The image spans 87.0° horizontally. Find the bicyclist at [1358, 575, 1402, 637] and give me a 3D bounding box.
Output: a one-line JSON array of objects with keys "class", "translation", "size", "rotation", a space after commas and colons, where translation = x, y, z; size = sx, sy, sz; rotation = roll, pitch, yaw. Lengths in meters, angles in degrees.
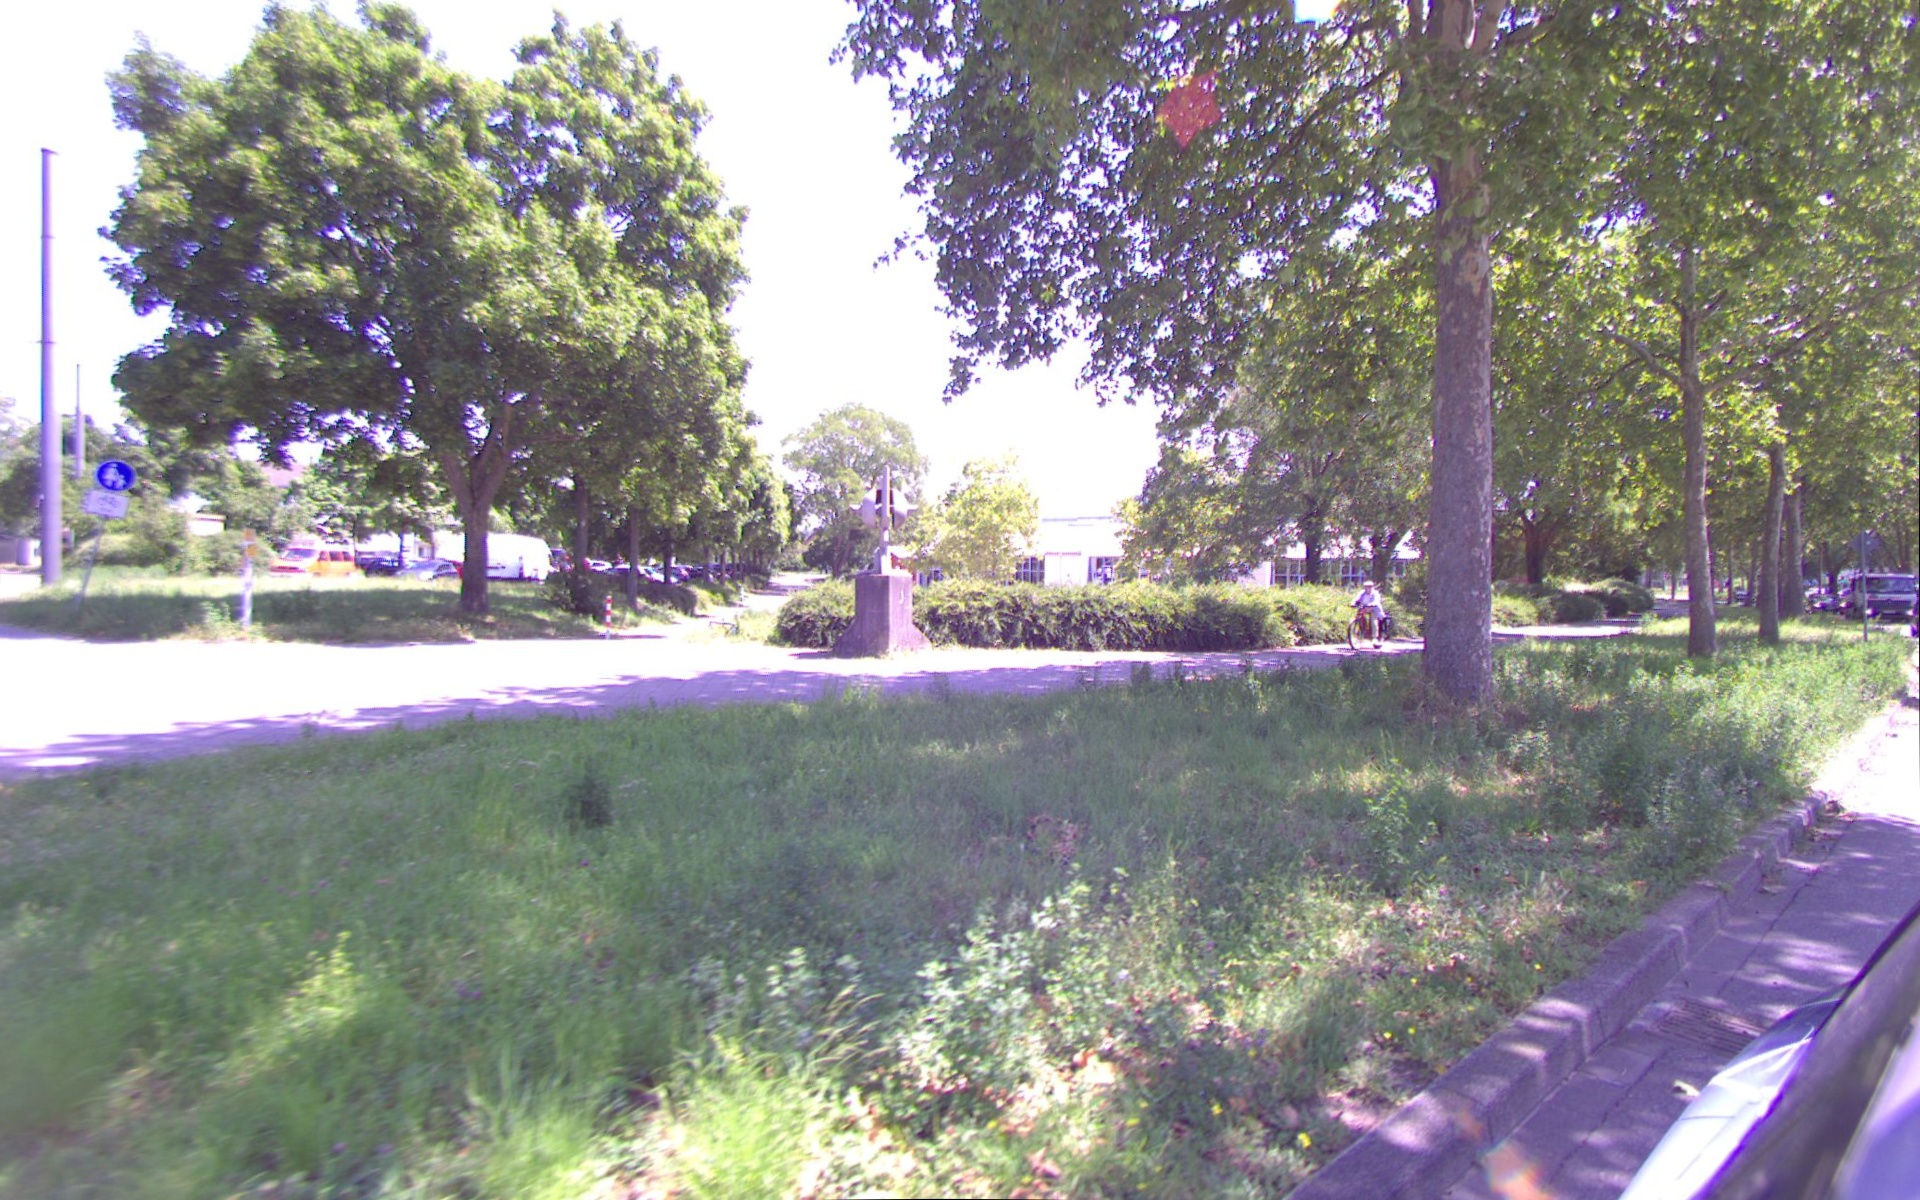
[{"class": "bicyclist", "translation": [9.276, 0.121, 22.364], "size": [0.652, 1.355, 0.602], "rotation": [0, 1, -28]}]

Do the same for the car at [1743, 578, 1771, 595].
[{"class": "car", "translation": [88.674, -1.494, 112.598], "size": [1.985, 1.860, 3.955], "rotation": [1, 2, 32]}]

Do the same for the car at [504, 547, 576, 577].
[{"class": "car", "translation": [-29.920, -2.701, 72.272], "size": [4.331, 2.039, 2.251], "rotation": [1, 1, -9]}]

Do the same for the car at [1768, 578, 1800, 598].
[{"class": "car", "translation": [82.653, -1.219, 101.518], "size": [1.985, 1.860, 3.954], "rotation": [1, 2, 33]}]

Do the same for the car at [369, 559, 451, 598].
[{"class": "car", "translation": [-25.882, -1.032, 47.765], "size": [1.917, 1.739, 4.076], "rotation": [1, 1, -5]}]

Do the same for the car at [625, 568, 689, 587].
[{"class": "car", "translation": [-17.653, -1.324, 59.116], "size": [3.492, 1.047, 1.685], "rotation": [1, 1, -12]}]

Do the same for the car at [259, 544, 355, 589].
[{"class": "car", "translation": [-31.546, -1.614, 49.067], "size": [2.032, 2.028, 4.669], "rotation": [1, 1, -6]}]

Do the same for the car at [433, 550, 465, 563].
[{"class": "car", "translation": [-65.309, -5.533, 129.399], "size": [1.430, 1.638, 3.331], "rotation": [1, 1, 31]}]

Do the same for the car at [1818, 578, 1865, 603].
[{"class": "car", "translation": [61.569, -0.666, 70.740], "size": [1.986, 1.638, 3.952], "rotation": [2, 2, 34]}]

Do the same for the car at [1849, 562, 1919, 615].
[{"class": "car", "translation": [50.014, -0.653, 54.376], "size": [2.904, 2.687, 6.280], "rotation": [2, 2, 38]}]

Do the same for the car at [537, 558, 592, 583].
[{"class": "car", "translation": [-32.908, -2.462, 84.256], "size": [3.917, 2.039, 1.971], "rotation": [1, 1, -10]}]

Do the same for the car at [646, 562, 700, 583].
[{"class": "car", "translation": [-19.243, -1.844, 67.889], "size": [3.356, 1.383, 1.721], "rotation": [1, 1, -12]}]

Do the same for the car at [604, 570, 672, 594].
[{"class": "car", "translation": [-17.931, -0.997, 56.437], "size": [3.499, 1.240, 1.623], "rotation": [1, 1, -12]}]

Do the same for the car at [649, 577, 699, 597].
[{"class": "car", "translation": [-15.266, -0.703, 54.108], "size": [2.545, 0.999, 0.955], "rotation": [1, 1, -12]}]

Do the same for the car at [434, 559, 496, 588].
[{"class": "car", "translation": [-29.426, -1.571, 60.211], "size": [3.019, 1.624, 1.516], "rotation": [1, 1, -5]}]

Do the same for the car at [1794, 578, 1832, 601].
[{"class": "car", "translation": [69.980, -0.864, 83.078], "size": [1.987, 1.860, 3.950], "rotation": [2, 2, 35]}]

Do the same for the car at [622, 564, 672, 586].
[{"class": "car", "translation": [-17.489, -1.402, 56.618], "size": [2.545, 1.141, 1.009], "rotation": [1, 1, -12]}]

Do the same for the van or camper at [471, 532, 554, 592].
[{"class": "van or camper", "translation": [-22.000, -1.849, 50.027], "size": [2.159, 2.785, 5.135], "rotation": [1, 1, -4]}]

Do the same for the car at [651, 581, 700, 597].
[{"class": "car", "translation": [-15.523, -0.611, 55.257], "size": [2.545, 0.852, 0.955], "rotation": [1, 1, -12]}]

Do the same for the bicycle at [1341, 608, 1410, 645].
[{"class": "bicycle", "translation": [9.160, 0.580, 22.313], "size": [1.634, 0.773, 0.466], "rotation": [0, 1, -28]}]
